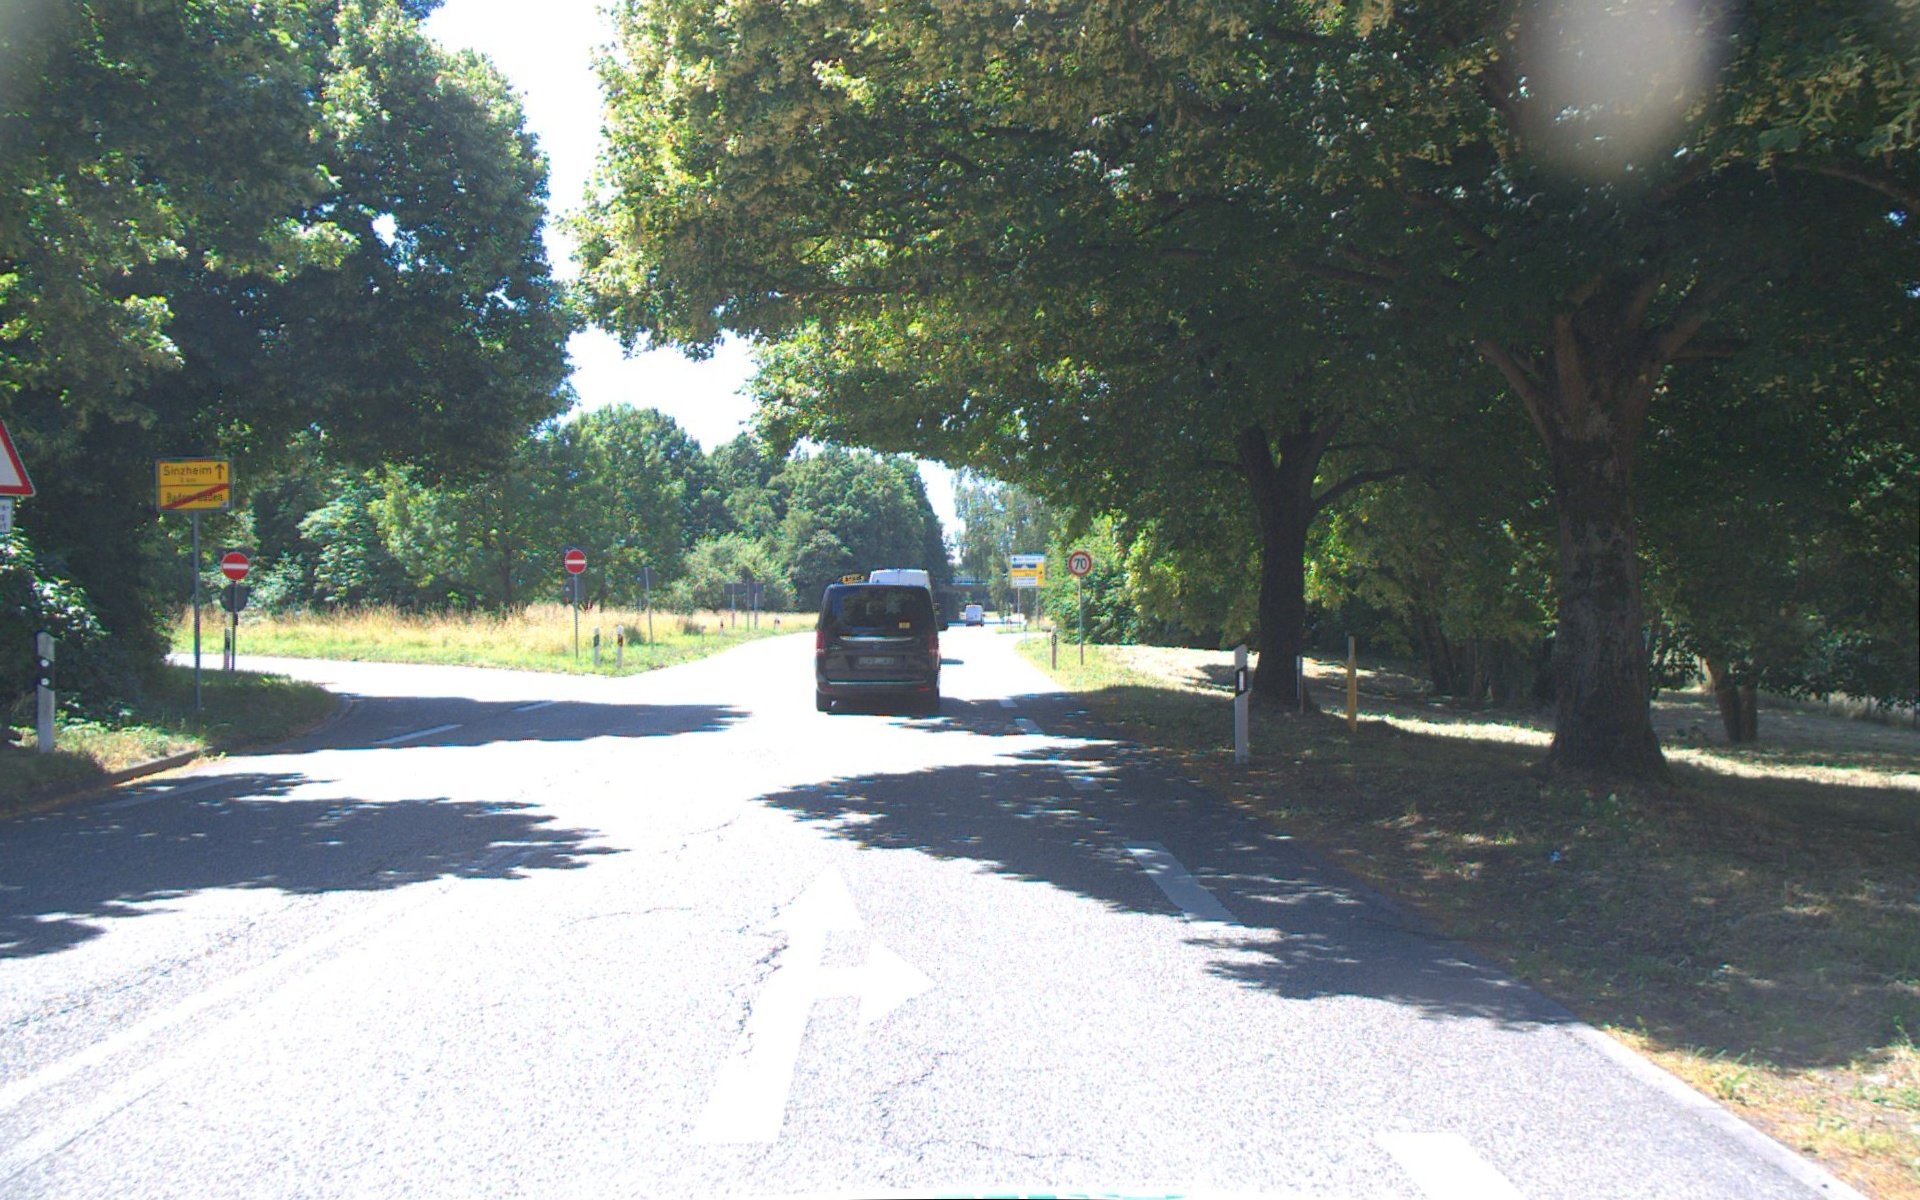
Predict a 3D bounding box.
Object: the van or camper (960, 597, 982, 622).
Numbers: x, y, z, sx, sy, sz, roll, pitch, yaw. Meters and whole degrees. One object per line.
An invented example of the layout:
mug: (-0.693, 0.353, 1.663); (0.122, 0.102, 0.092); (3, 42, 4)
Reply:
van or camper: (1.326, 1.218, 205.561); (2.578, 2.980, 5.204); (1, -1, -2)

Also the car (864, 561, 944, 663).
car: (-1.575, 0.355, 48.075); (2.035, 2.750, 4.666); (2, -1, 0)

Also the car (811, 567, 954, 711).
car: (-1.098, 0.579, 25.895); (1.953, 1.987, 5.004); (2, -1, 0)
